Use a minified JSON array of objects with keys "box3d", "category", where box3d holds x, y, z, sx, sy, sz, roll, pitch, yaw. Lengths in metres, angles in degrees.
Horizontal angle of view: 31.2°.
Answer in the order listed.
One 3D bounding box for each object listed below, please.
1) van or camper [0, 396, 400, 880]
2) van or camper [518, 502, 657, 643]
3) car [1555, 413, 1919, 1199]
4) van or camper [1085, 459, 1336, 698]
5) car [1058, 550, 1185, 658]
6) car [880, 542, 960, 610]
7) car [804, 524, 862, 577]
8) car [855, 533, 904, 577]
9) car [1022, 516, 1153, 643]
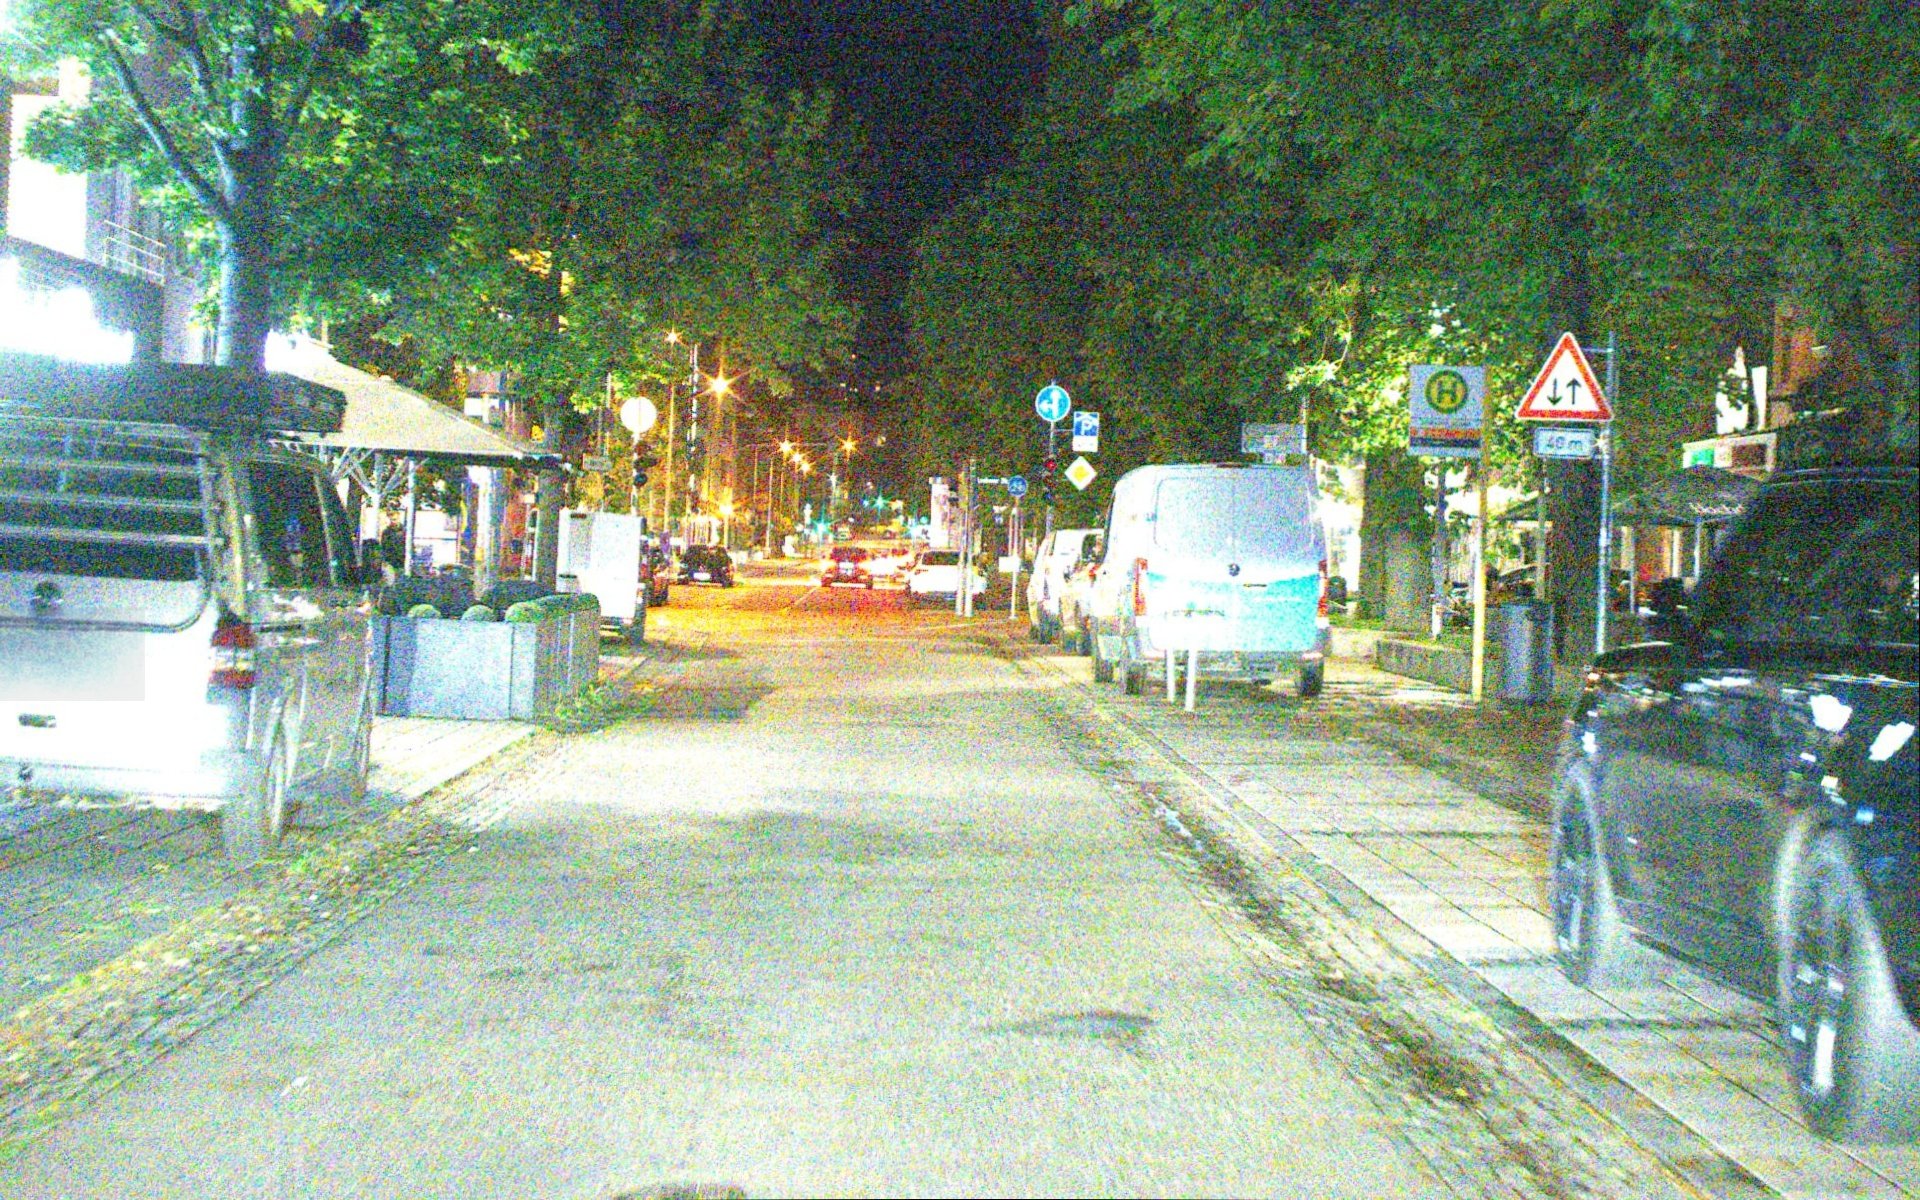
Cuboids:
[{"box3d":[-4.002,0.107,16.839,1.866,2.004,4.263,3,1,-2],"category":"van or camper"},{"box3d":[-5.544,-0.427,51.528,1.935,1.982,3.846,2,1,-5],"category":"van or camper"},{"box3d":[3.032,0.478,9.652,1.815,1.822,4.347,1,1,-2],"category":"car"},{"box3d":[2.525,-0.247,35.684,2.108,2.309,4.263,1,1,-2],"category":"van or camper"},{"box3d":[2.242,0.024,48.609,1.531,1.413,3.846,2,1,-1],"category":"car"},{"box3d":[-0.954,-0.592,82.273,1.839,1.537,3.846,2,1,-1],"category":"car"},{"box3d":[-4.591,-1.792,124.043,1.993,1.817,4.000,2,1,-2],"category":"car"},{"box3d":[-3.503,-1.973,149.170,1.993,1.817,4.000,2,1,-2],"category":"car"},{"box3d":[1.993,-0.347,54.673,1.839,1.894,3.846,2,1,-1],"category":"car"}]
